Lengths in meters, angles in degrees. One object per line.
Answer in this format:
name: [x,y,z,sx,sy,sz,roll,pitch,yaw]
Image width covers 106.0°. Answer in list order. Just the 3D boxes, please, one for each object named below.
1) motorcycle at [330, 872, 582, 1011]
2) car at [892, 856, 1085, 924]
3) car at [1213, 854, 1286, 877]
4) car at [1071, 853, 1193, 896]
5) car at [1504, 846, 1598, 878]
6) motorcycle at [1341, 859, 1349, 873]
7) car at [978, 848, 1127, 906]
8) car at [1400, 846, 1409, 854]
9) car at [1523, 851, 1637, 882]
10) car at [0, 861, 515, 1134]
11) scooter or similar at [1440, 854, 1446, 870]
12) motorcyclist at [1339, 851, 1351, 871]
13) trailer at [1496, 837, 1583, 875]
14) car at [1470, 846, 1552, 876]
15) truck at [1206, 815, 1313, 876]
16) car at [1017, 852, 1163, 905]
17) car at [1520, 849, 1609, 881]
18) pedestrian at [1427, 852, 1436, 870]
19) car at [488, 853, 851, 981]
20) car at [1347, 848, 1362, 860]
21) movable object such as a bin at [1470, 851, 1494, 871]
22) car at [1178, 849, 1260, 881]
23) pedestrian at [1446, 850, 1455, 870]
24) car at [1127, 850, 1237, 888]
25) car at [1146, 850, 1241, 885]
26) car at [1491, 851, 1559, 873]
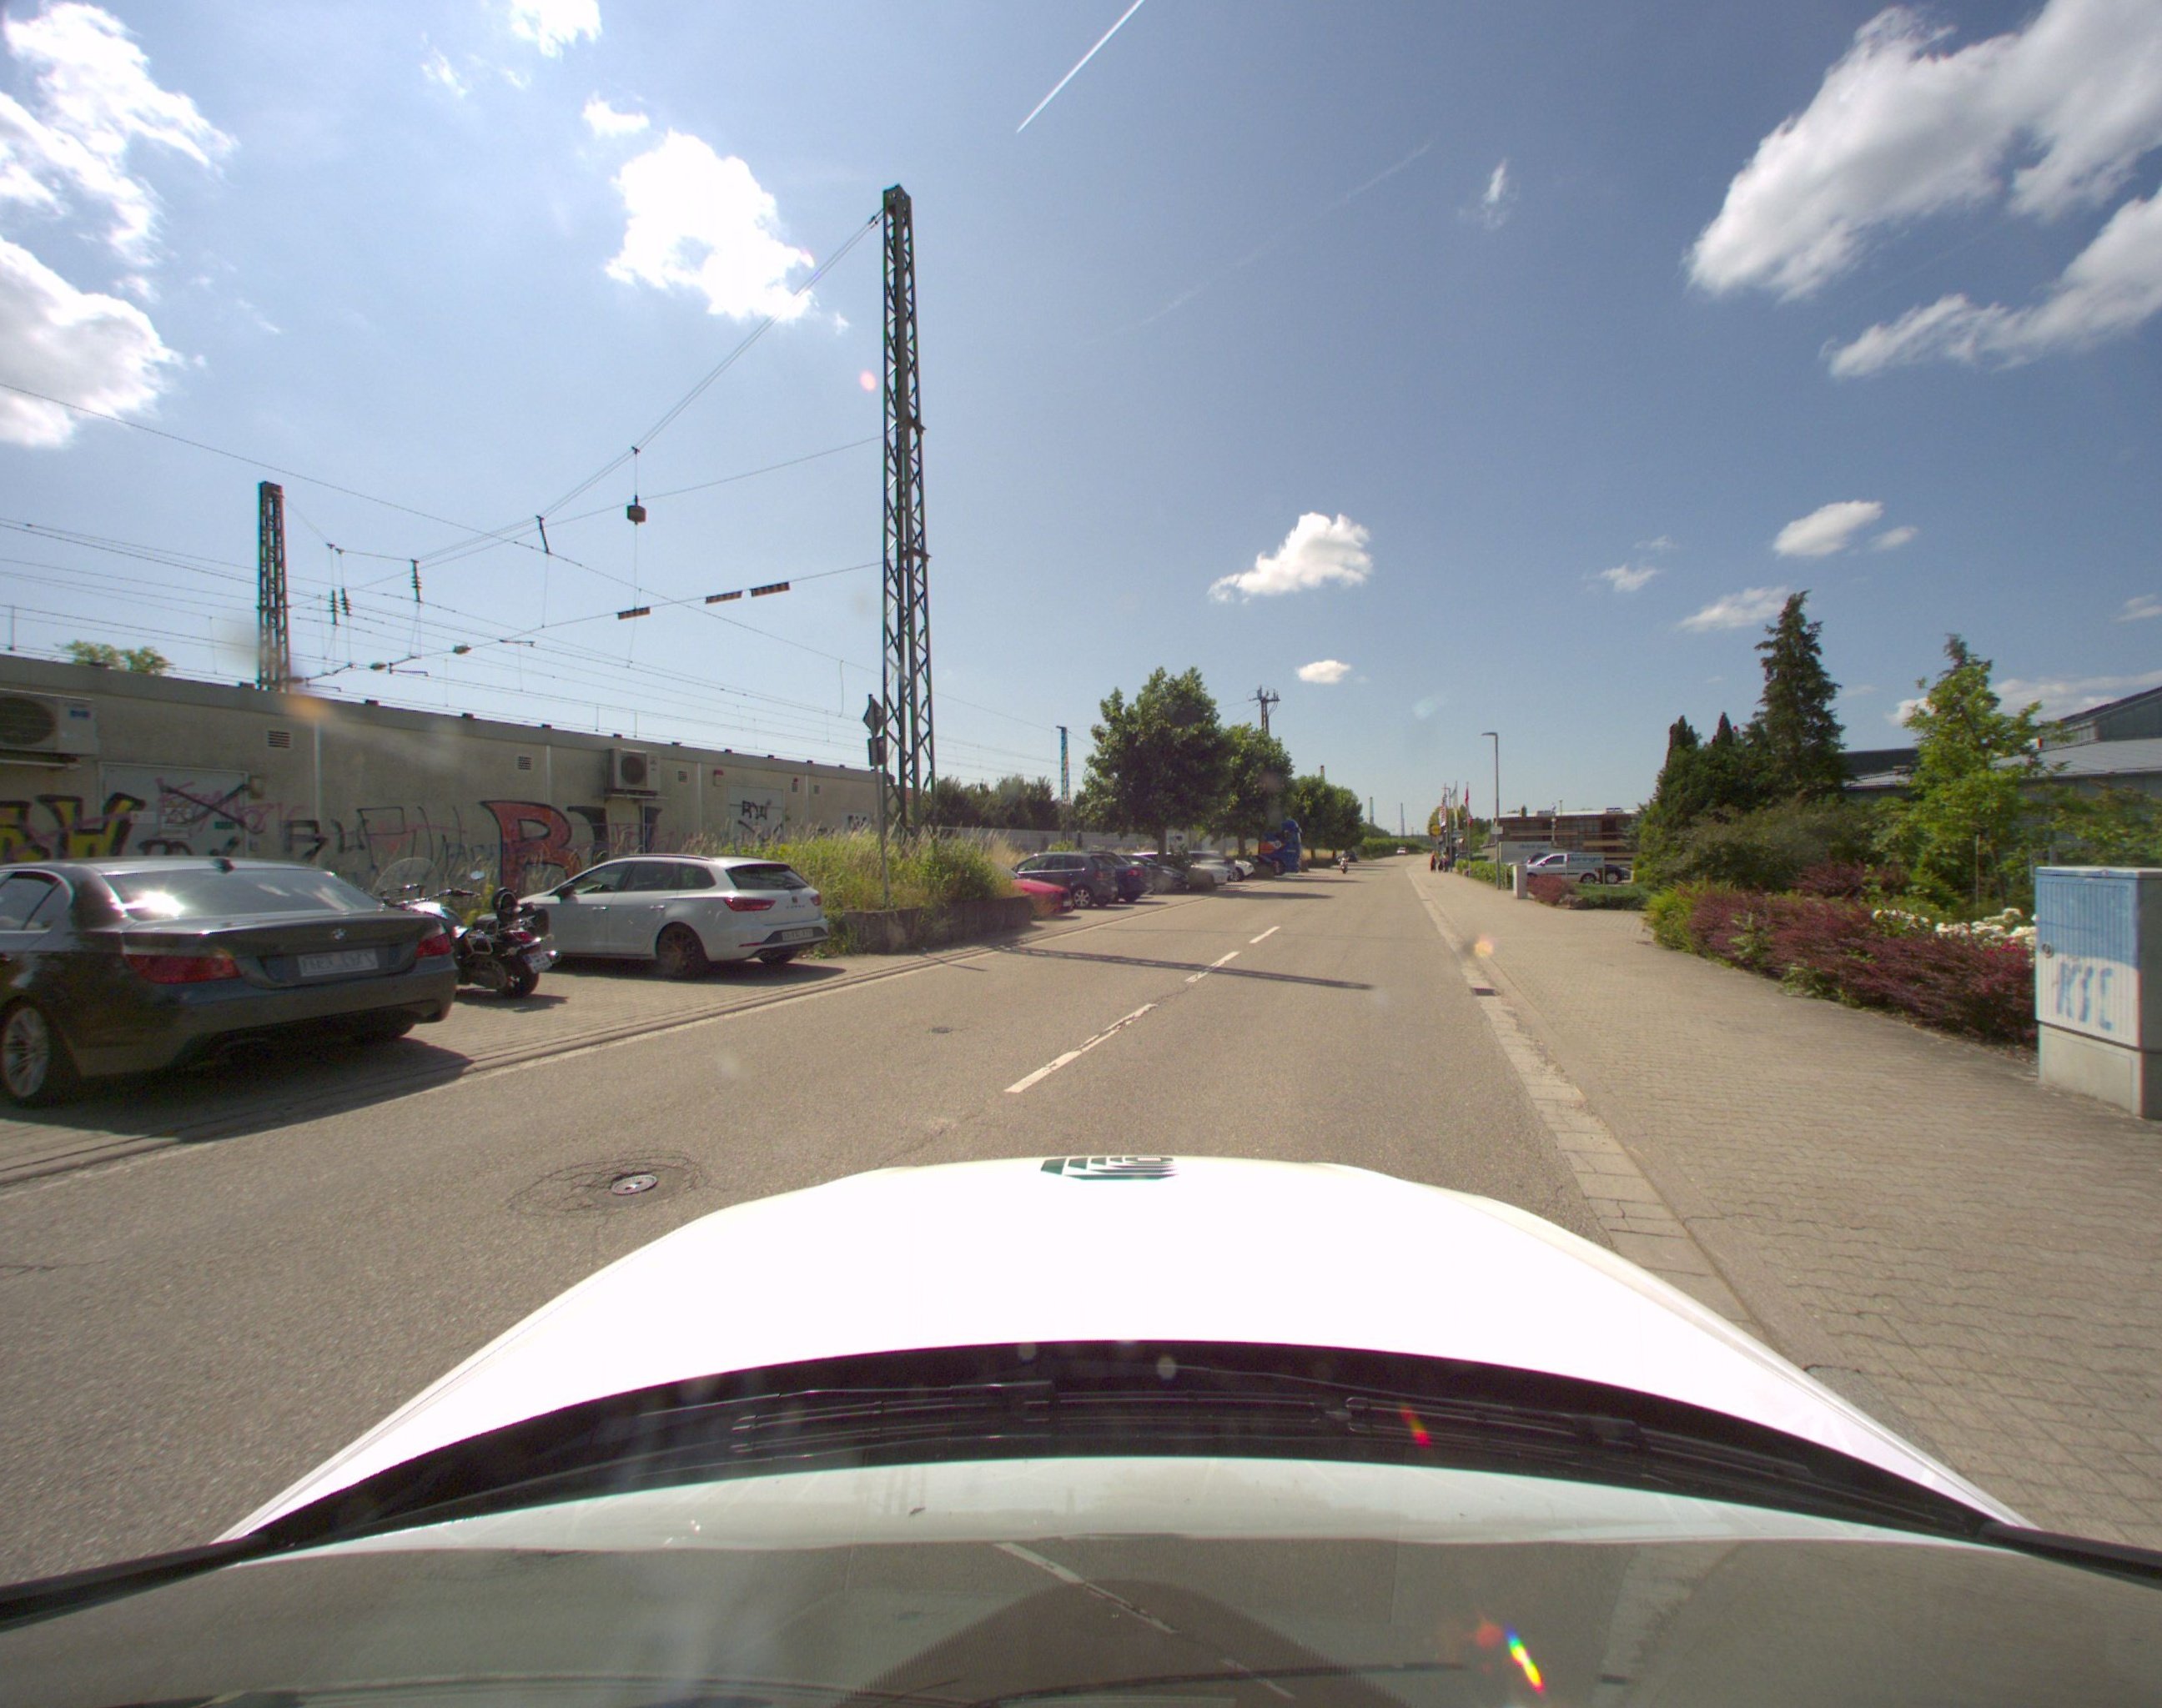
motorcycle: [-6.461,0.851,8.392,2.701,1.281,0.721,-1,-1,20]
car: [-2.117,0.770,18.684,4.038,1.368,1.683,0,1,22]
car: [10.347,0.689,49.991,4.173,1.395,1.881,0,0,19]
car: [1.868,0.739,29.647,4.038,1.472,1.796,-1,-1,22]
car: [24.940,0.446,43.373,4.003,1.575,1.721,-2,-2,16]
motorcycle: [20.088,0.932,61.906,0.459,1.051,1.965,-1,0,21]
car: [-0.753,0.580,22.061,3.635,1.447,1.692,1,0,19]
car: [77.547,-0.861,195.221,1.822,1.858,4.508,-1,0,22]
car: [24.269,0.592,39.807,4.438,1.440,1.823,0,0,18]
car: [-6.546,0.814,5.716,4.393,1.410,1.795,-2,0,16]
scooter or similar: [27.603,0.613,62.074,0.331,1.198,0.400,-2,-3,22]
motorcyclist: [20.090,0.563,61.962,0.769,1.509,0.926,-1,0,22]
trailer: [25.811,0.129,46.022,3.953,2.014,2.010,-2,-1,20]
car: [26.024,0.442,49.445,4.177,1.634,1.809,-2,-3,20]
truck: [11.874,-0.504,54.112,6.559,3.823,2.677,-1,-1,19]
car: [0.259,0.711,24.263,3.909,1.450,1.797,-1,0,26]
car: [22.430,0.505,37.895,3.322,1.401,1.779,-2,0,24]
pedestrian: [26.837,0.546,62.299,0.560,1.405,0.587,-2,-3,21]
car: [-5.210,0.692,10.410,4.040,1.402,1.795,0,0,18]
car: [36.290,-0.025,107.898,1.726,1.596,3.598,-1,0,21]
movable object such as a bin: [29.860,0.537,60.682,1.266,1.458,1.043,0,0,-16]
car: [7.161,0.573,42.251,3.938,1.618,1.859,-1,0,18]
pedestrian: [28.058,0.461,61.799,0.530,1.540,0.513,-2,-3,21]
car: [4.337,0.601,34.884,4.301,1.533,1.936,0,0,21]
car: [5.182,0.605,37.438,3.954,1.548,2.010,-1,0,19]
car: [29.914,0.519,54.985,3.812,1.455,1.827,0,0,22]
